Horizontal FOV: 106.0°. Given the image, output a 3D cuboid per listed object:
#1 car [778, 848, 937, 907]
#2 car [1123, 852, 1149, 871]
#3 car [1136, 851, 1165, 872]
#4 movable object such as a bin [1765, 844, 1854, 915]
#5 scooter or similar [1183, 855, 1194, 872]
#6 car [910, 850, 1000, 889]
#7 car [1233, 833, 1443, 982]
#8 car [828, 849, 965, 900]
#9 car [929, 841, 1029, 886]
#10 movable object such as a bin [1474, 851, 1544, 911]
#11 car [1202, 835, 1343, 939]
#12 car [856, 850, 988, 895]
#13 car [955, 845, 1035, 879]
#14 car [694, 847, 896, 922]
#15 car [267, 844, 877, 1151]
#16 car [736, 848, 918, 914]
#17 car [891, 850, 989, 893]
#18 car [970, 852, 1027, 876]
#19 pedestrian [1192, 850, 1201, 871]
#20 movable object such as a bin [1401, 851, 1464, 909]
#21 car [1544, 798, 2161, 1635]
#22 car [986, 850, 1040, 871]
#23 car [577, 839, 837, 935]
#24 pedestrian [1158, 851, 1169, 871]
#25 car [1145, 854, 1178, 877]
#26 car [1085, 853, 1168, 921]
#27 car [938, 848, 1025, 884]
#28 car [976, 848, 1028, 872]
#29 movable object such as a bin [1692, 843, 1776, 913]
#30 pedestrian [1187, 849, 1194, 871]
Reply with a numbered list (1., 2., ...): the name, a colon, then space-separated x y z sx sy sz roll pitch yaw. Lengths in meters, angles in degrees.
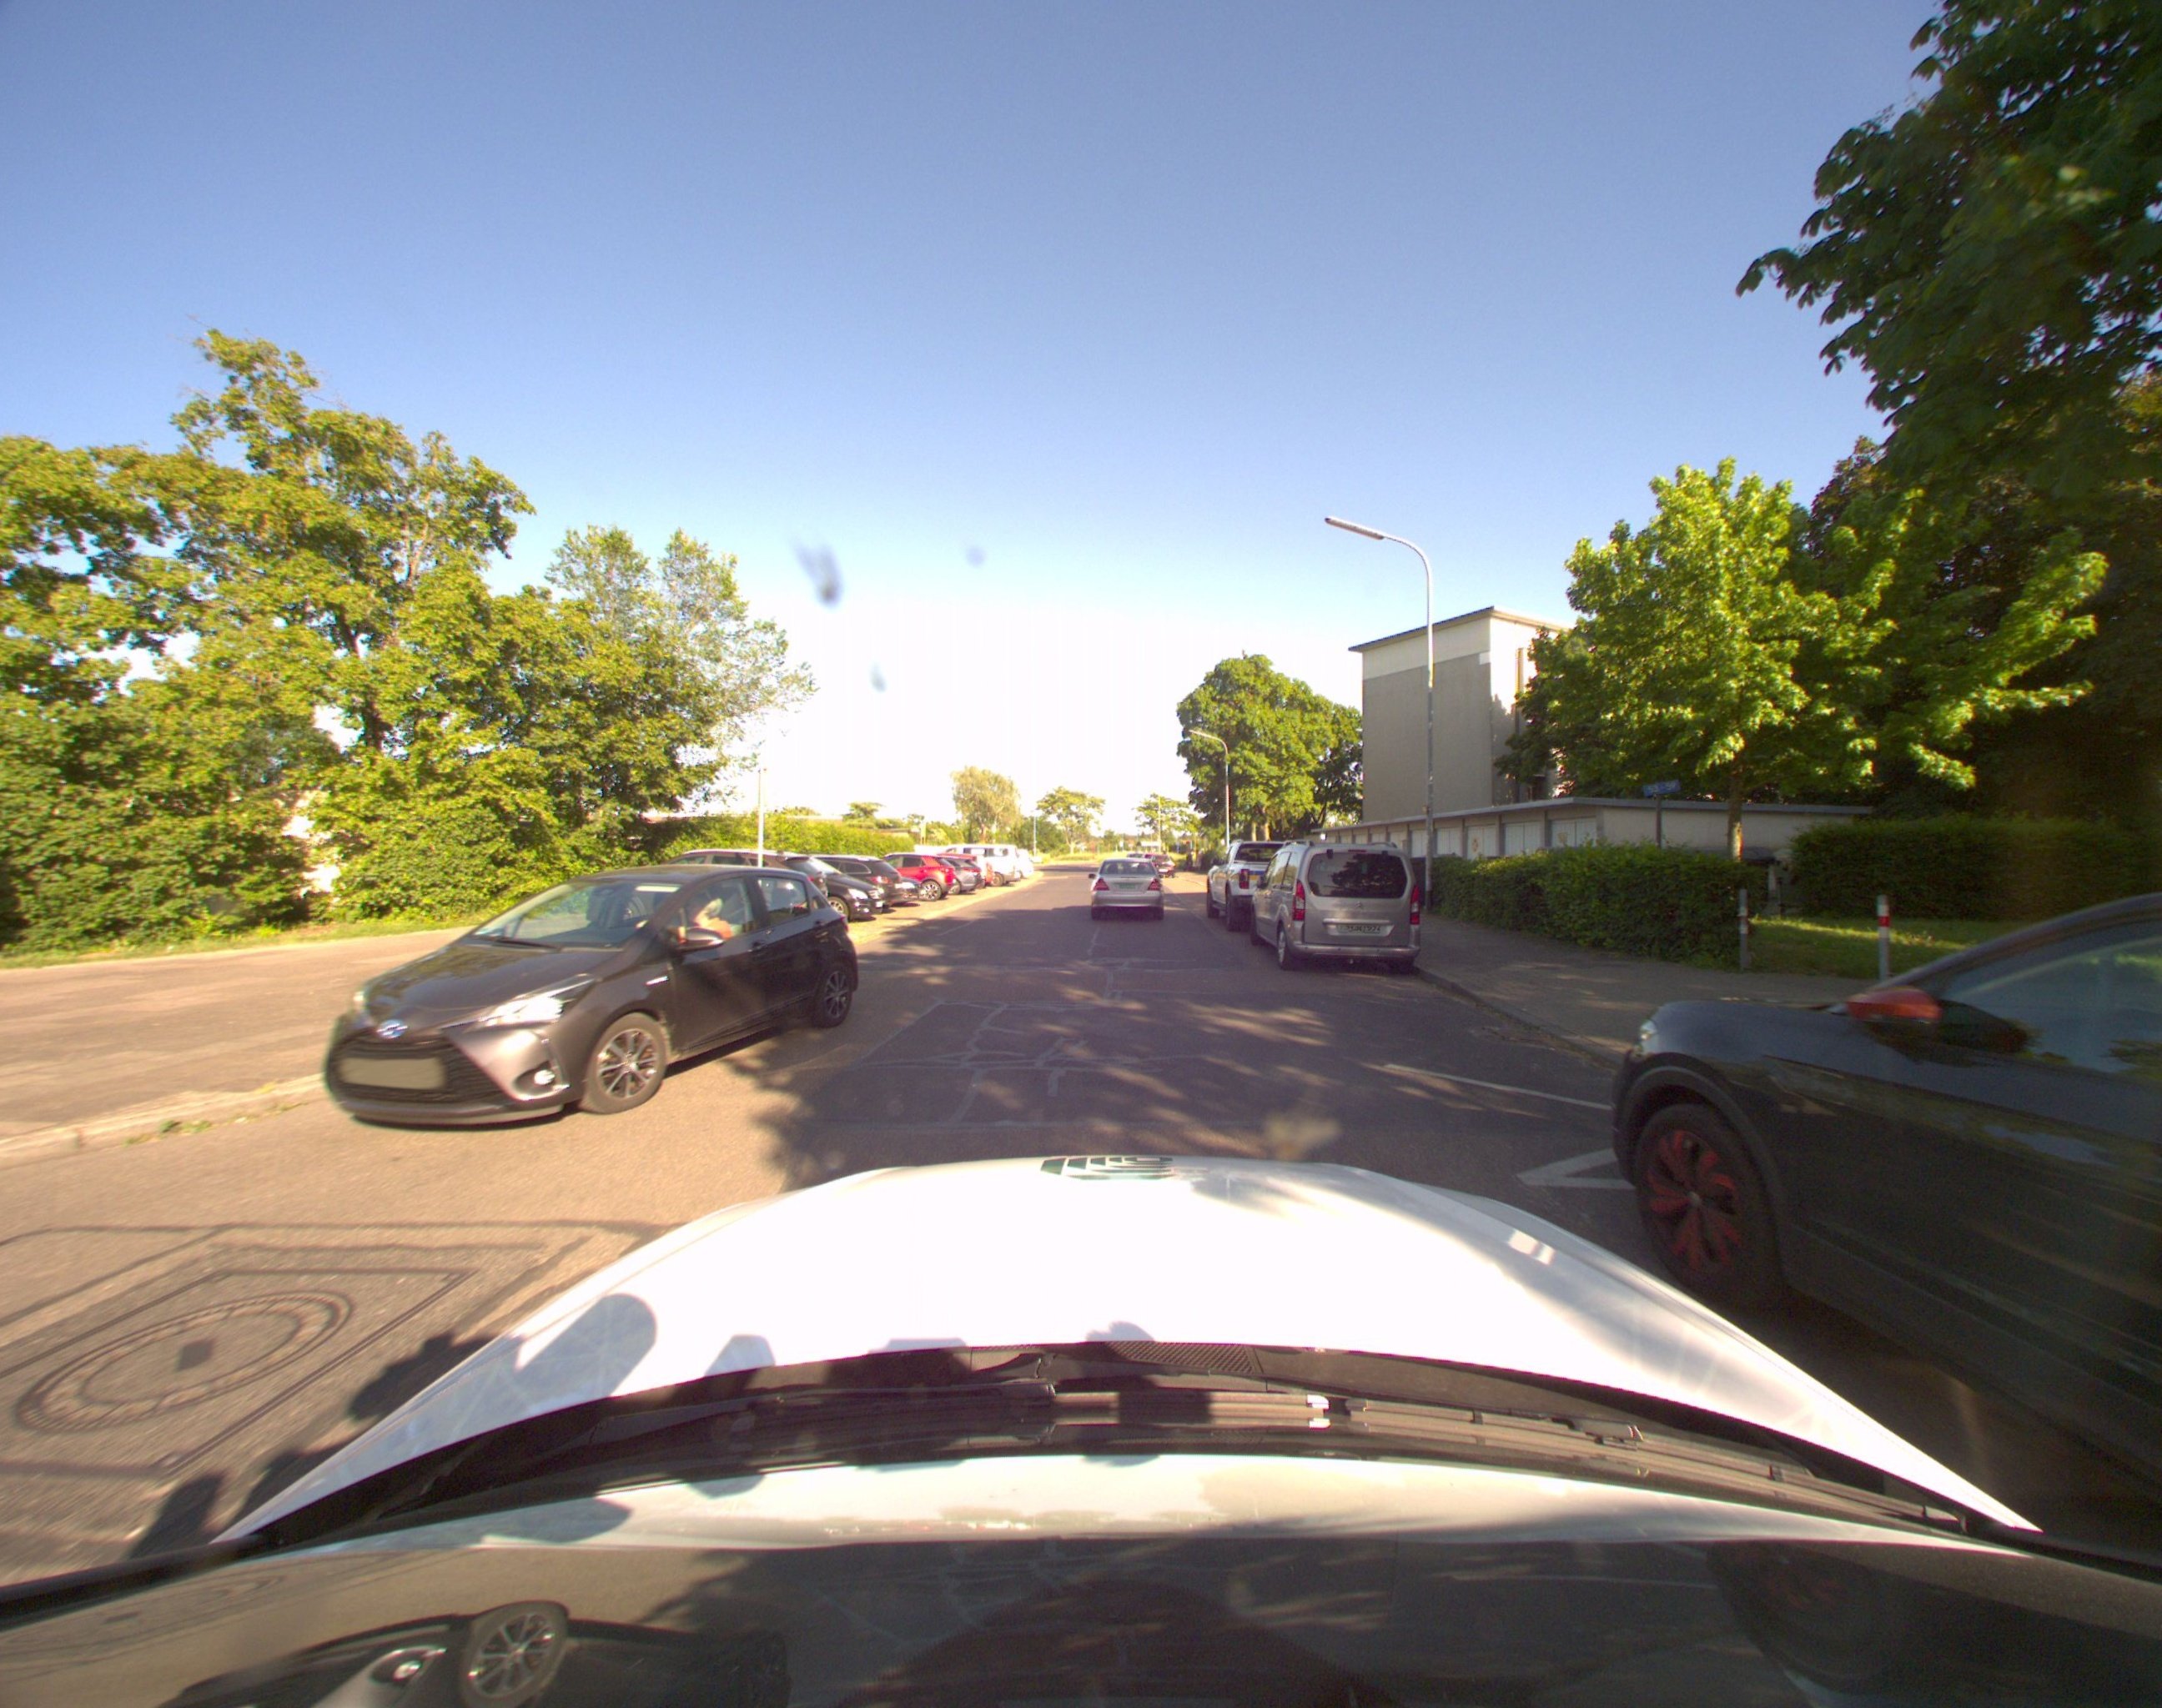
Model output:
1. car: -6.407 0.656 23.653 4.005 1.512 1.906 2 -1 0
2. car: 4.632 0.654 69.158 1.728 1.543 3.783 1 -1 -4
3. car: 5.031 0.536 59.296 1.572 1.446 3.783 1 -1 -4
4. movable object such as a bin: 14.942 0.527 16.733 1.070 1.417 0.835 0 -1 8
5. scooter or similar: 7.873 0.668 59.827 0.621 1.227 0.904 -1 -1 -2
6. car: -5.565 0.663 36.156 3.588 1.567 1.853 2 0 2
7. car: 3.597 0.629 12.344 1.826 1.791 4.557 2 1 2
8. car: -5.986 0.653 26.708 3.971 1.479 1.792 2 0 2
9. car: -4.837 0.477 39.255 4.463 1.977 2.000 2 -1 1
10. movable object such as a bin: 9.997 0.620 19.076 1.241 1.347 1.057 0 -1 14
11. car: 3.885 0.581 17.522 1.899 1.840 5.277 2 1 2
12. car: -5.907 0.665 30.590 4.526 1.479 1.748 2 0 2
13. car: -5.317 0.483 50.839 4.775 1.921 2.080 2 -1 -2
14. car: -6.539 0.677 18.959 3.973 1.532 1.832 2 -1 0
15. car: -3.241 0.768 6.264 1.639 1.556 4.014 -1 -1 11
16. car: -6.501 0.686 21.160 4.078 1.512 1.812 2 -1 0
17. car: -5.768 0.699 33.655 3.588 1.567 1.882 2 0 2
18. car: -5.422 0.677 53.810 3.502 1.446 1.636 2 -1 0
19. pedestrian: 8.476 0.478 59.730 0.485 1.565 0.468 -2 -1 -6
20. movable object such as a bin: 8.432 0.615 19.591 1.241 1.347 1.057 0 -1 14
21. car: 2.985 0.717 1.732 1.797 1.594 4.025 2 0 2
22. car: -6.200 0.587 74.110 4.866 1.915 1.995 0 -1 -7
23. car: -7.213 0.620 16.033 4.173 1.656 1.846 2 -1 0
24. pedestrian: 6.672 0.553 65.621 0.785 1.565 0.569 2 -1 -3
25. car: 5.054 0.721 51.654 1.642 1.403 3.880 -1 -1 -1
26. car: 1.155 0.728 20.313 1.808 1.463 4.365 1 0 4
27. car: -5.053 0.610 41.771 4.136 1.706 1.884 2 -1 1
28. car: -6.160 0.488 63.573 3.971 1.780 1.922 1 0 -6
29. movable object such as a bin: 13.516 0.498 16.893 1.070 1.417 0.835 0 -1 8
30. pedestrian: 8.199 0.454 60.819 0.478 1.565 0.598 -2 -1 8
